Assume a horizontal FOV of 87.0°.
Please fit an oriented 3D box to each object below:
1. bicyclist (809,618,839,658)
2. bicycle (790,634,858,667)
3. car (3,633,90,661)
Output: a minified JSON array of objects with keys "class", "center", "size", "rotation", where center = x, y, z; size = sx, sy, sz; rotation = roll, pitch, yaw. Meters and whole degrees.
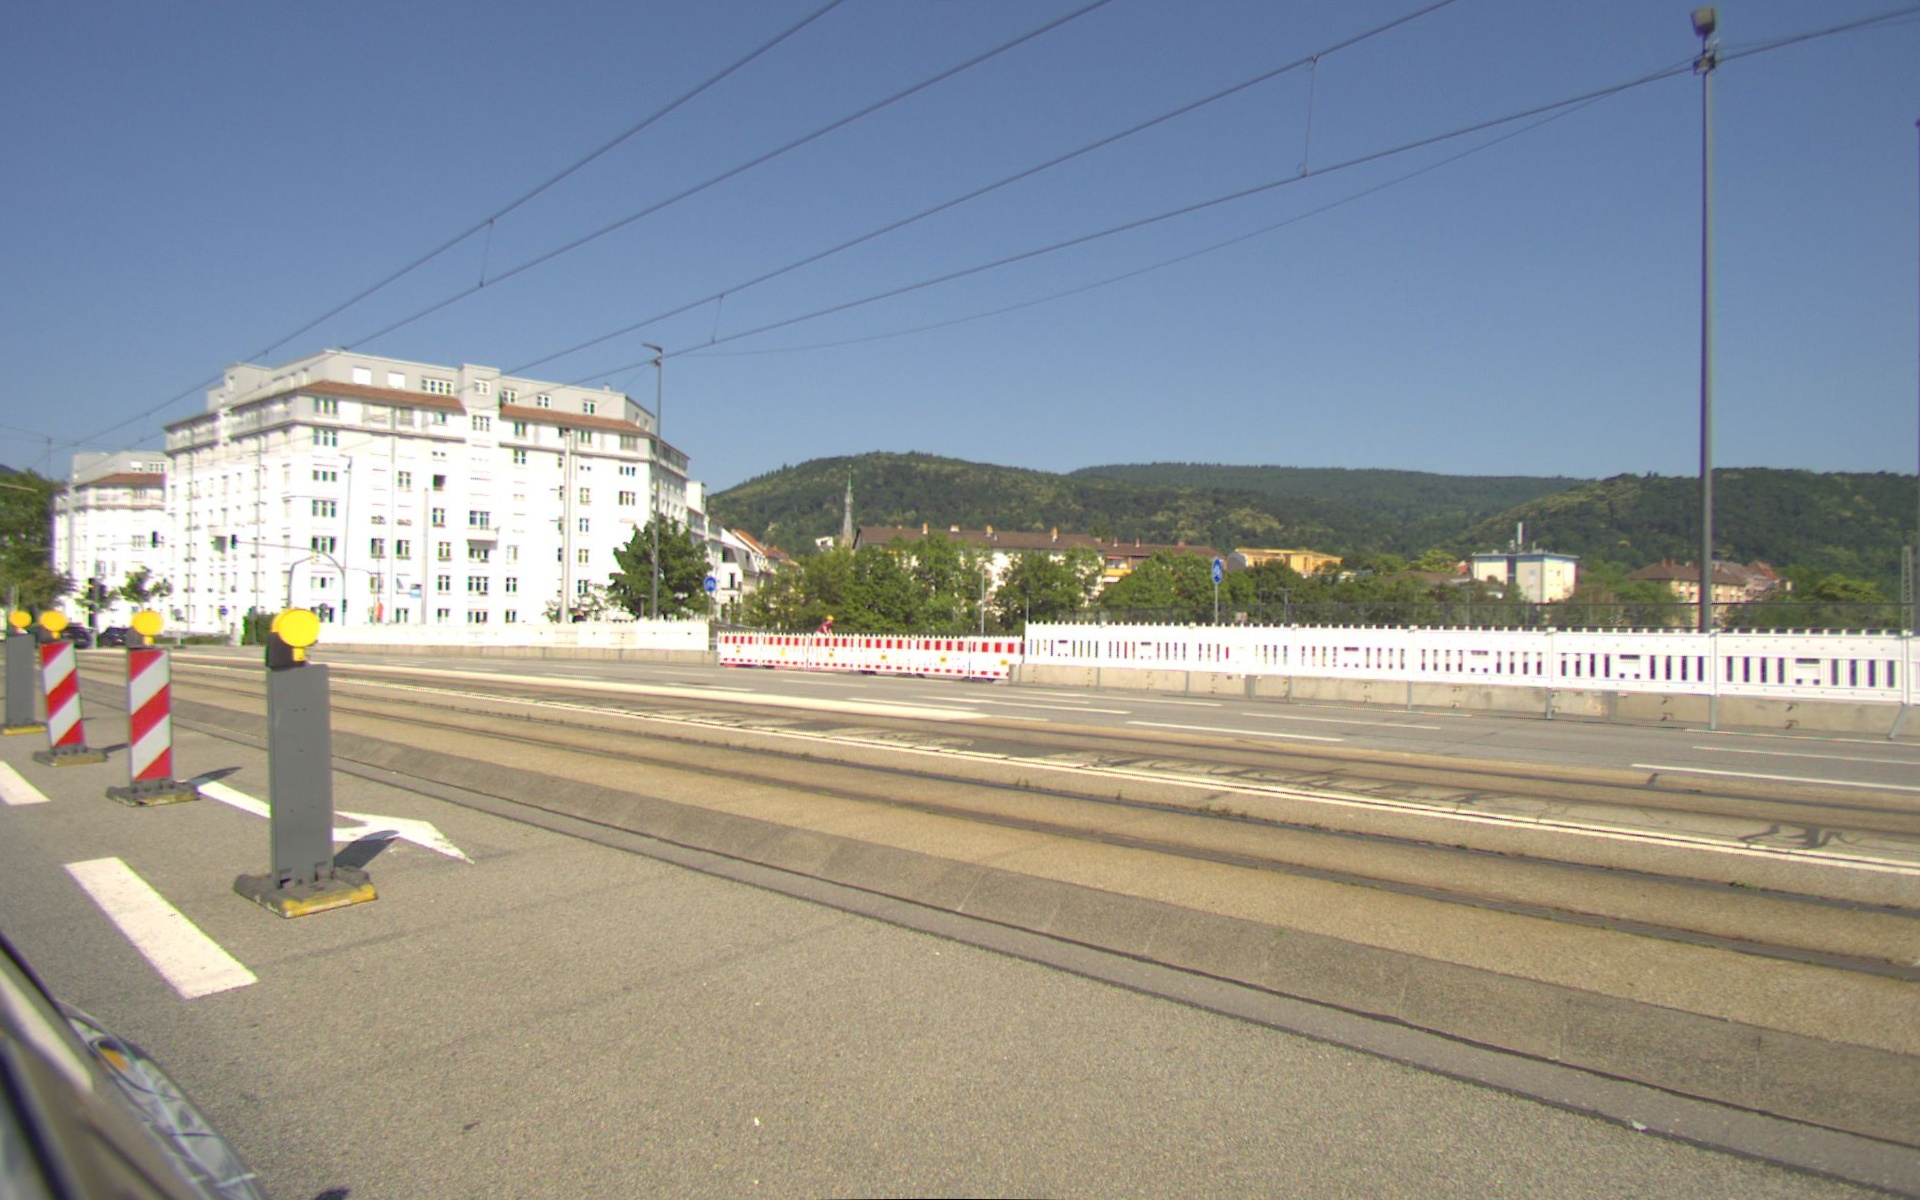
[{"class":"bicyclist","center":[-5.370,1.469,39.861],"size":[0.817,1.530,0.847],"rotation":[-1,0,41]},{"class":"bicycle","center":[-5.368,1.968,39.859],"size":[3.070,1.204,0.847],"rotation":[0,0,41]},{"class":"car","center":[-50.916,2.630,56.427],"size":[3.964,1.497,1.793],"rotation":[-1,-1,16]}]
